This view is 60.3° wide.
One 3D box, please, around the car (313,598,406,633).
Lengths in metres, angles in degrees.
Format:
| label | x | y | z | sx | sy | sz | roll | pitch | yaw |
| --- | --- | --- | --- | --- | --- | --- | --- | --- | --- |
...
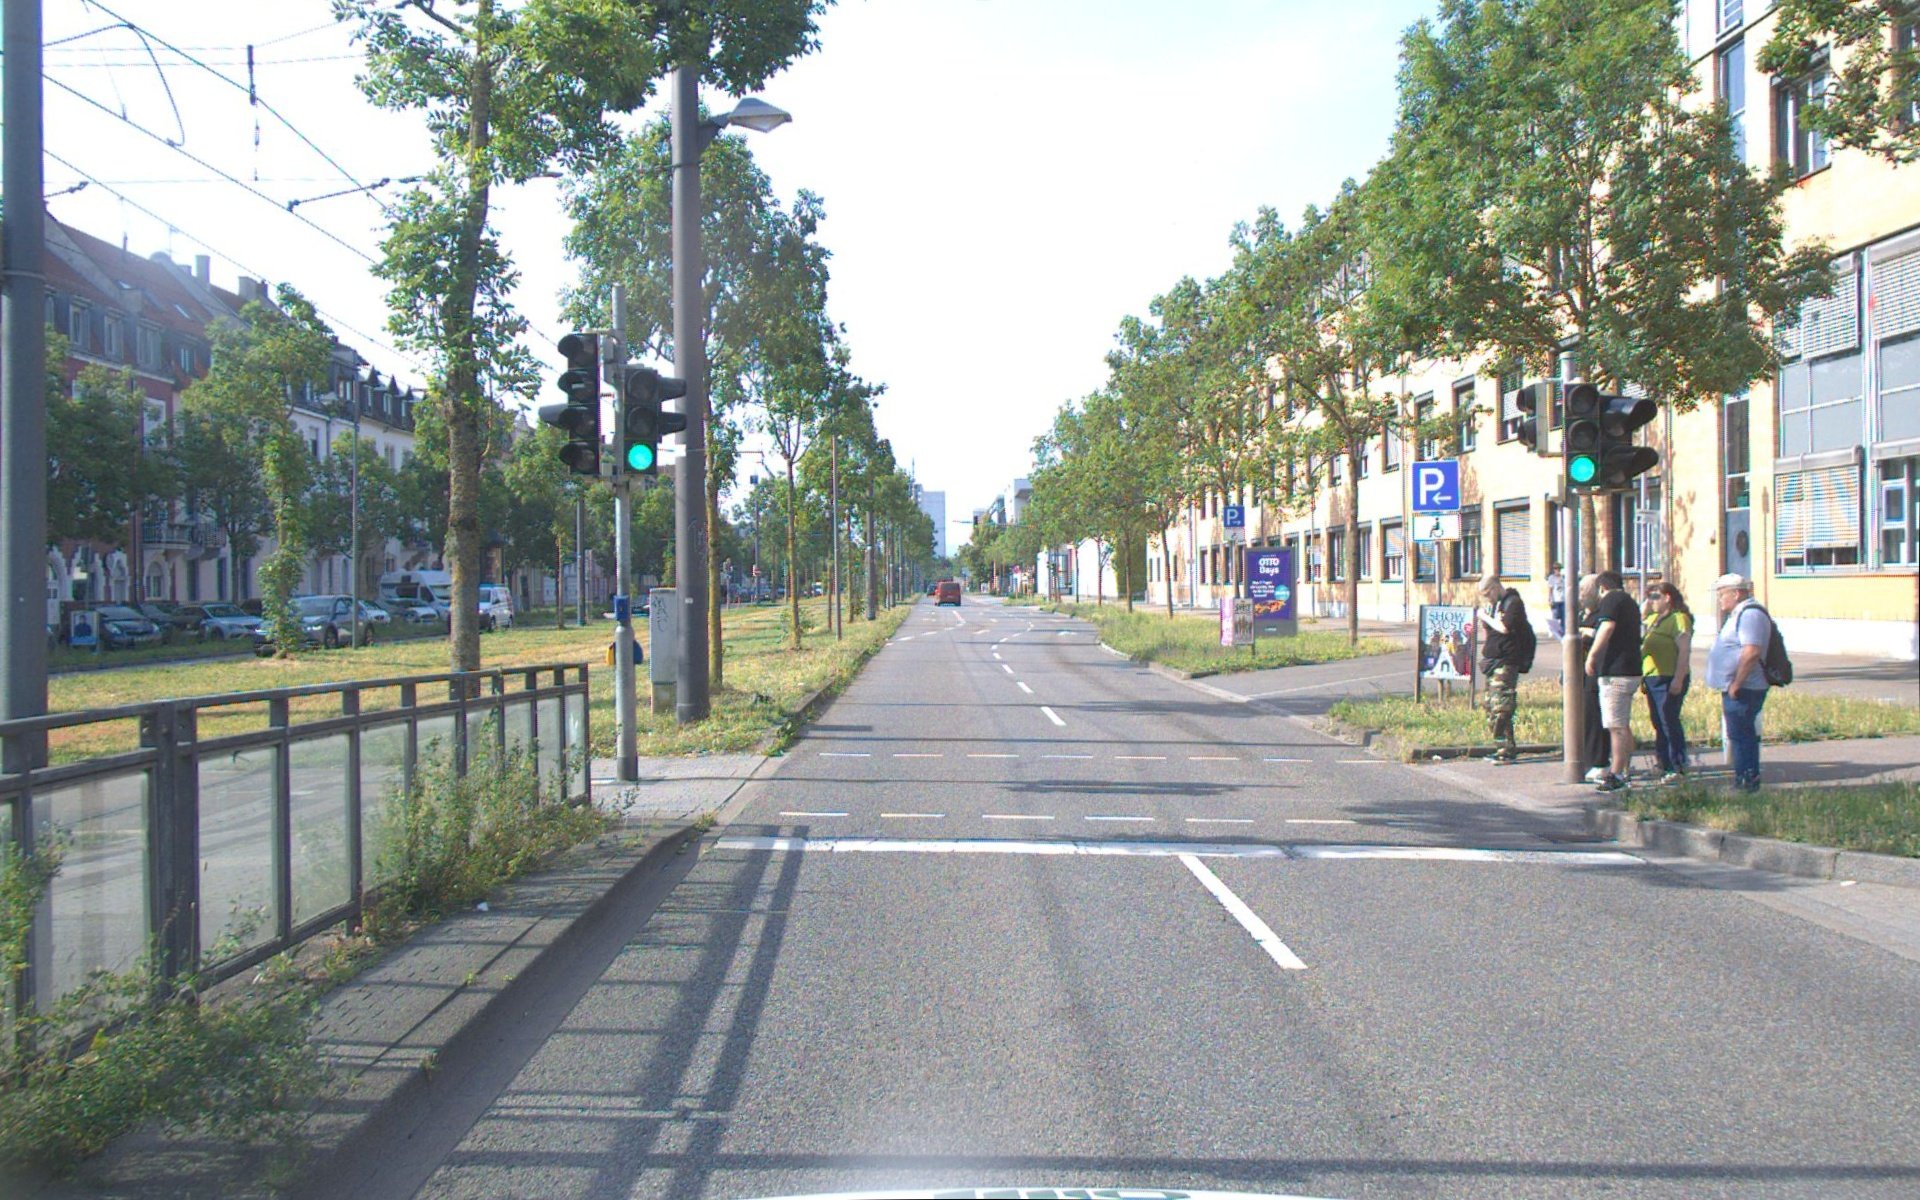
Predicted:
| label | x | y | z | sx | sy | sz | roll | pitch | yaw |
| --- | --- | --- | --- | --- | --- | --- | --- | --- | --- |
| car | -25.158 | 0.634 | 69.249 | 3.931 | 1.339 | 1.657 | 1 | 0 | 34 |

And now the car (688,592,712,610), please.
| label | x | y | z | sx | sy | sz | roll | pitch | yaw |
| --- | --- | --- | --- | --- | --- | --- | --- | --- | --- |
| car | -24.920 | 0.130 | 158.444 | 1.728 | 1.684 | 3.999 | 1 | 0 | -2 |

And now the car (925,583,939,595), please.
| label | x | y | z | sx | sy | sz | roll | pitch | yaw |
| --- | --- | --- | --- | --- | --- | --- | --- | --- | --- |
| car | -3.600 | -1.467 | 215.086 | 1.712 | 1.531 | 3.215 | 1 | 0 | 0 |

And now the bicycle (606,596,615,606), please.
| label | x | y | z | sx | sy | sz | roll | pitch | yaw |
| --- | --- | --- | --- | --- | --- | --- | --- | --- | --- |
| bicycle | -32.333 | 0.106 | 153.047 | 0.438 | 0.872 | 1.946 | 1 | 0 | -3 |

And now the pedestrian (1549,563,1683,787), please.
| label | x | y | z | sx | sy | sz | roll | pitch | yaw |
| --- | --- | --- | --- | --- | --- | --- | --- | --- | --- |
| pedestrian | 5.120 | 0.569 | 12.938 | 0.691 | 1.675 | 0.689 | -2 | 0 | -3 |

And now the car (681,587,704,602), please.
| label | x | y | z | sx | sy | sz | roll | pitch | yaw |
| --- | --- | --- | --- | --- | --- | --- | --- | --- | --- |
| car | -30.137 | -0.618 | 186.215 | 1.954 | 1.657 | 4.772 | 1 | 0 | -3 |

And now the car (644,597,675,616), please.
| label | x | y | z | sx | sy | sz | roll | pitch | yaw |
| --- | --- | --- | --- | --- | --- | --- | --- | --- | --- |
| car | -24.205 | 0.490 | 133.170 | 1.909 | 1.485 | 4.645 | 1 | 0 | -4 |

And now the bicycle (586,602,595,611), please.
| label | x | y | z | sx | sy | sz | roll | pitch | yaw |
| --- | --- | --- | --- | --- | --- | --- | --- | --- | --- |
| bicycle | -32.627 | 0.561 | 146.001 | 0.428 | 0.803 | 1.946 | 1 | 0 | -3 |

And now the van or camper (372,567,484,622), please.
| label | x | y | z | sx | sy | sz | roll | pitch | yaw |
| --- | --- | --- | --- | --- | --- | --- | --- | --- | --- |
| van or camper | -26.721 | -0.308 | 83.028 | 5.803 | 2.618 | 2.193 | 1 | 0 | 34 |

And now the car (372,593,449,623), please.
| label | x | y | z | sx | sy | sz | roll | pitch | yaw |
| --- | --- | --- | --- | --- | --- | --- | --- | --- | --- |
| car | -26.478 | 0.400 | 79.705 | 3.610 | 1.355 | 1.657 | 1 | 0 | 34 |

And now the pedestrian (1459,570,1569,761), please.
| label | x | y | z | sx | sy | sz | roll | pitch | yaw |
| --- | --- | --- | --- | --- | --- | --- | --- | --- | --- |
| pedestrian | 5.045 | 0.582 | 15.099 | 0.691 | 1.675 | 0.689 | -2 | 0 | -3 |

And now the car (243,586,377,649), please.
| label | x | y | z | sx | sy | sz | roll | pitch | yaw |
| --- | --- | --- | --- | --- | --- | --- | --- | --- | --- |
| car | -17.229 | 0.448 | 44.082 | 1.797 | 1.560 | 4.576 | 1 | 0 | -1 |

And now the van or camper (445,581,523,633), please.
| label | x | y | z | sx | sy | sz | roll | pitch | yaw |
| --- | --- | --- | --- | --- | --- | --- | --- | --- | --- |
| van or camper | -20.574 | 0.297 | 71.686 | 1.912 | 2.133 | 5.351 | 1 | 0 | -2 |

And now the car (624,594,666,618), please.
| label | x | y | z | sx | sy | sz | roll | pitch | yaw |
| --- | --- | --- | --- | --- | --- | --- | --- | --- | --- |
| car | -22.319 | 0.418 | 117.361 | 1.953 | 1.658 | 5.380 | 1 | 0 | 0 |

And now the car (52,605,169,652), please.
| label | x | y | z | sx | sy | sz | roll | pitch | yaw |
| --- | --- | --- | --- | --- | --- | --- | --- | --- | --- |
| car | -25.433 | 0.829 | 49.472 | 3.609 | 1.263 | 1.522 | 1 | 2 | 33 |

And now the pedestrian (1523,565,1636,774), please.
| label | x | y | z | sx | sy | sz | roll | pitch | yaw |
| --- | --- | --- | --- | --- | --- | --- | --- | --- | --- |
| pedestrian | 5.142 | 0.563 | 13.751 | 0.622 | 1.675 | 0.608 | -2 | 0 | -5 |

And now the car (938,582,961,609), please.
| label | x | y | z | sx | sy | sz | roll | pitch | yaw |
| --- | --- | --- | --- | --- | --- | --- | --- | --- | --- |
| car | -0.839 | -0.359 | 131.029 | 1.712 | 2.049 | 3.215 | 1 | 0 | 0 |

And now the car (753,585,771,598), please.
| label | x | y | z | sx | sy | sz | roll | pitch | yaw |
| --- | --- | --- | --- | --- | --- | --- | --- | --- | --- |
| car | -23.490 | -0.980 | 196.581 | 1.776 | 1.458 | 3.924 | 1 | 0 | -2 |

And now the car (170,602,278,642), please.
| label | x | y | z | sx | sy | sz | roll | pitch | yaw |
| --- | --- | --- | --- | --- | --- | --- | --- | --- | --- |
| car | -25.009 | 0.735 | 56.200 | 3.610 | 1.263 | 1.657 | 1 | 0 | 34 |

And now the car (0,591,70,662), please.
| label | x | y | z | sx | sy | sz | roll | pitch | yaw |
| --- | --- | --- | --- | --- | --- | --- | --- | --- | --- |
| car | -25.607 | 0.633 | 43.438 | 4.849 | 1.756 | 1.851 | 1 | 0 | 34 |

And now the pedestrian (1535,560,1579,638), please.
| label | x | y | z | sx | sy | sz | roll | pitch | yaw |
| --- | --- | --- | --- | --- | --- | --- | --- | --- | --- |
| pedestrian | 13.308 | -0.023 | 36.876 | 0.682 | 1.685 | 0.773 | 1 | 0 | -1 |

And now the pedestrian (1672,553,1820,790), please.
| label | x | y | z | sx | sy | sz | roll | pitch | yaw |
| --- | --- | --- | --- | --- | --- | --- | --- | --- | --- |
| pedestrian | 5.807 | 0.511 | 12.250 | 0.691 | 1.675 | 0.689 | -2 | 0 | -3 |
